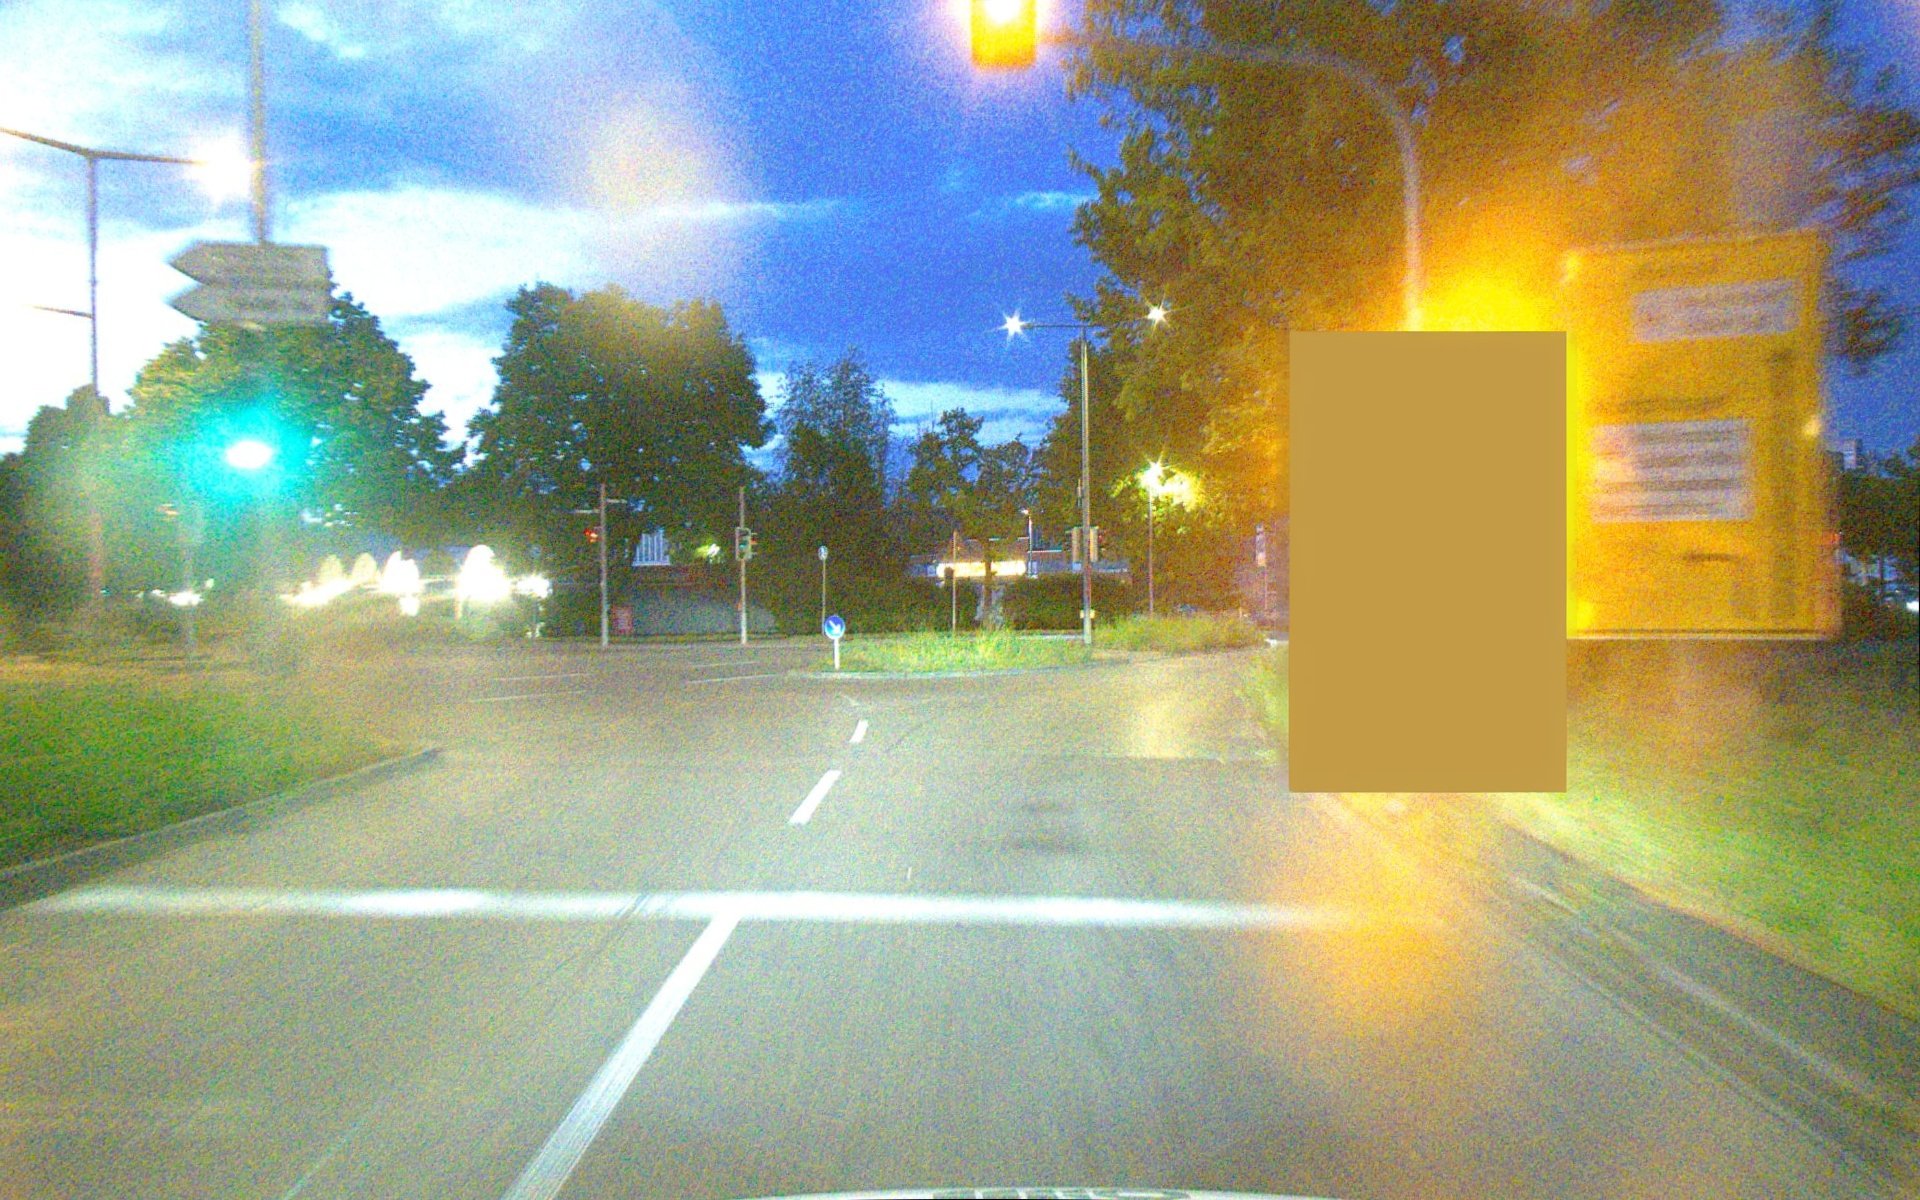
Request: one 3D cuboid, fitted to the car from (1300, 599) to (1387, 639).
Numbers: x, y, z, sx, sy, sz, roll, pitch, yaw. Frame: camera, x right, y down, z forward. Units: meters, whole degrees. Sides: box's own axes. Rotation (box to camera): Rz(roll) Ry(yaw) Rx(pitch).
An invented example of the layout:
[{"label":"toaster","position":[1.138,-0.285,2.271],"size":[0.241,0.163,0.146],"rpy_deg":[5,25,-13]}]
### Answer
[{"label":"car","position":[14.652,0.711,63.001],"size":[1.729,1.471,4.513],"rpy_deg":[0,0,34]}]
